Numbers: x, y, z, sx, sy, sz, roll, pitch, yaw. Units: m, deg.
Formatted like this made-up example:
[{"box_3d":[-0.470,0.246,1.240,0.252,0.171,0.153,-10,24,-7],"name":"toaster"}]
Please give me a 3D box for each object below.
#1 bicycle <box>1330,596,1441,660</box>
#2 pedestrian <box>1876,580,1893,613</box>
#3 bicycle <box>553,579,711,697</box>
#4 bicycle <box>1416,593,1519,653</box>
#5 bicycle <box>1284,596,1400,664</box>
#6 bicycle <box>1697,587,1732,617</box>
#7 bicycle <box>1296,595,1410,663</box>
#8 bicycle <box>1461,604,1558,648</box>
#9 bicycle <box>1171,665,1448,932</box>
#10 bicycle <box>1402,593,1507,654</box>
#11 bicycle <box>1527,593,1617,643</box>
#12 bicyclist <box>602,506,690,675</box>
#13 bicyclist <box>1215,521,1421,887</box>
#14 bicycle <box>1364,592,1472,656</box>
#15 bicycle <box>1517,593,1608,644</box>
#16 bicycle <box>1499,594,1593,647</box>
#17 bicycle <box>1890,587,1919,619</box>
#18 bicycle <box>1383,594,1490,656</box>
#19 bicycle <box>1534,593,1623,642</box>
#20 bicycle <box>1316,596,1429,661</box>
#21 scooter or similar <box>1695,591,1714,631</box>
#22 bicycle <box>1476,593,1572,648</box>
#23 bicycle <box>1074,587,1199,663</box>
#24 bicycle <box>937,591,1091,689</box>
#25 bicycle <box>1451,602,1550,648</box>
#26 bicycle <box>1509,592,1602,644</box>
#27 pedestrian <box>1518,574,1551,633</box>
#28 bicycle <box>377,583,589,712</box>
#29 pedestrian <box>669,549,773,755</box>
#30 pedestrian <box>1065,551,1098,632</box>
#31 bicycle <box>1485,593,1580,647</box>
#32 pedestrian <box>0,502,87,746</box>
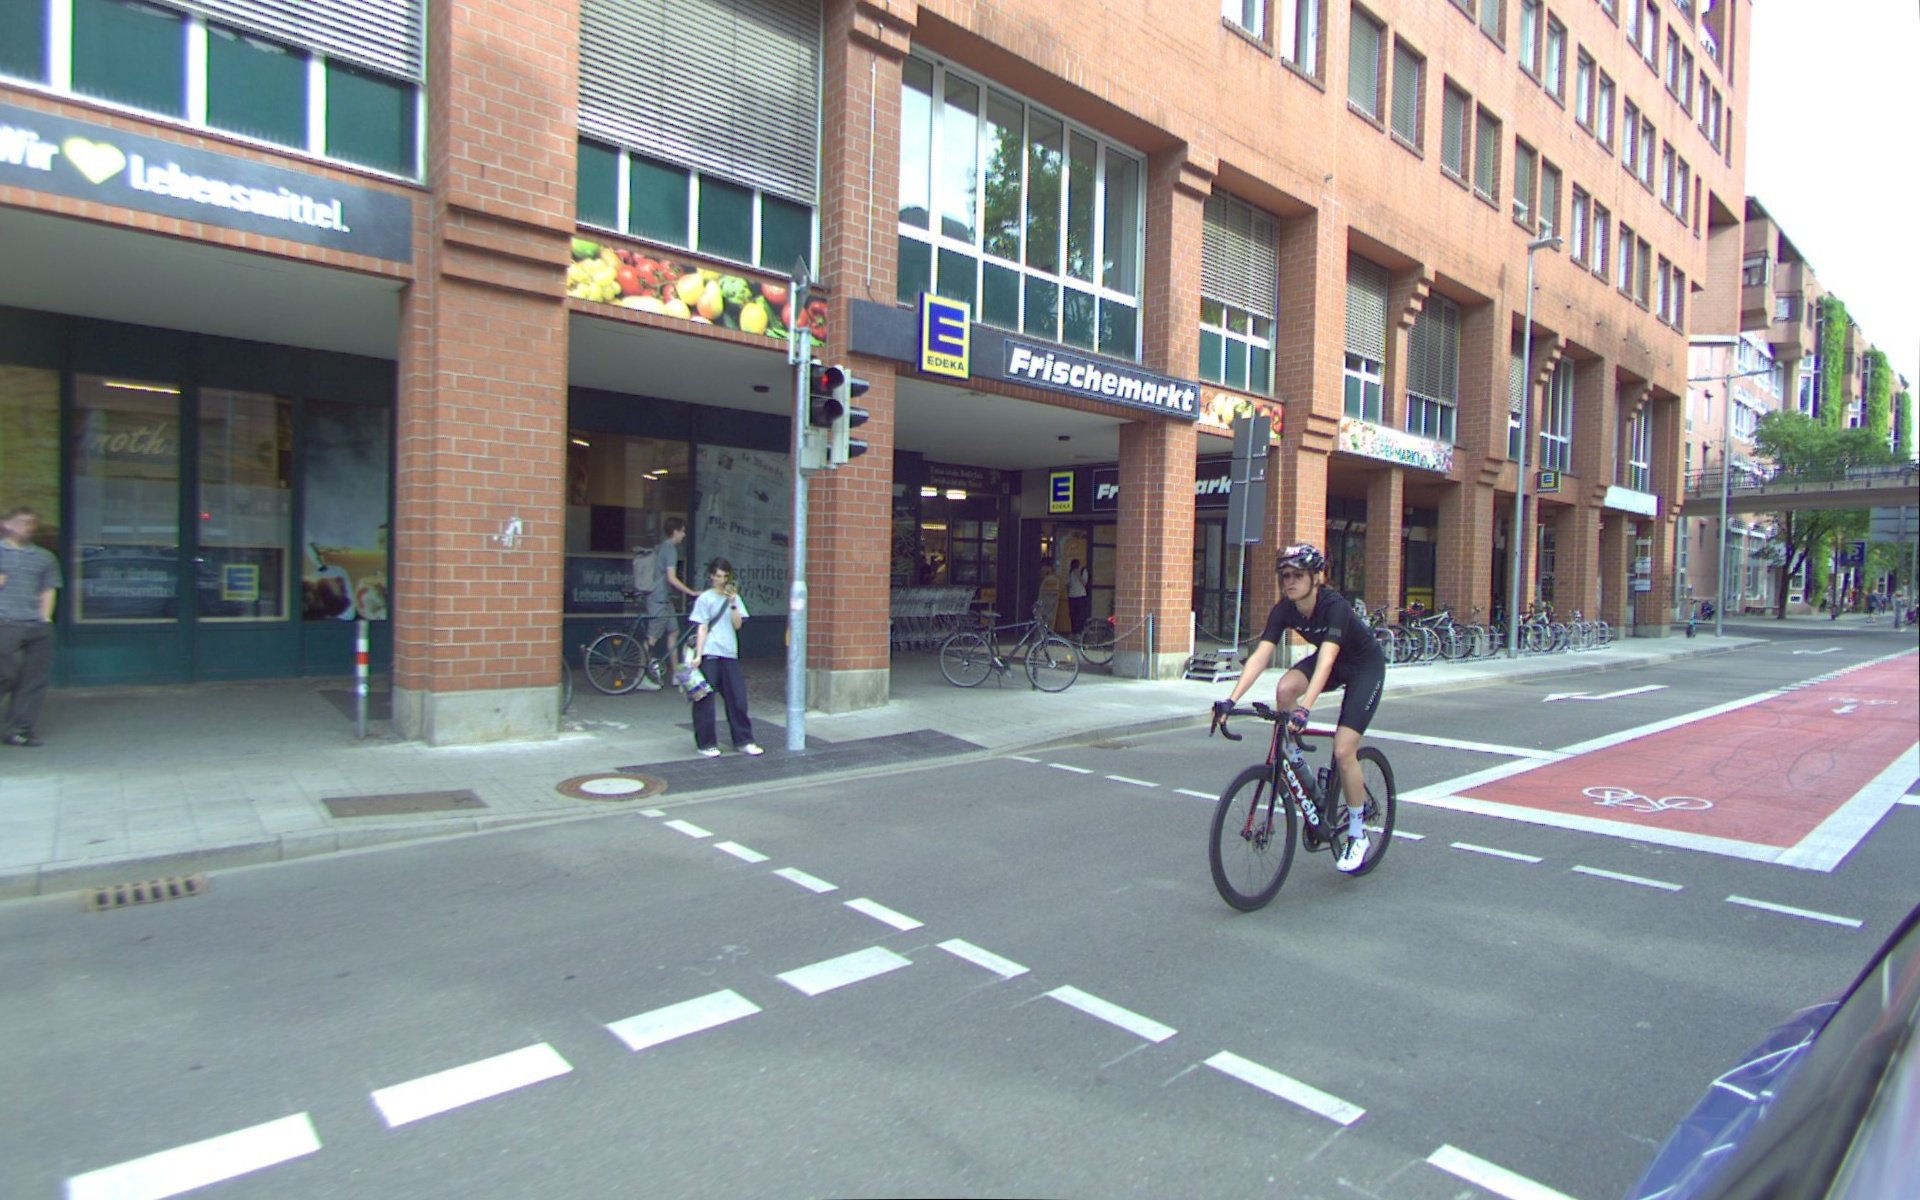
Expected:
[{"box_3d":[7.972,0.496,19.033,0.525,1.053,1.859,0,3,-40],"name":"bicycle"},{"box_3d":[47.518,-0.200,52.011,0.601,1.675,0.515,0,2,-40],"name":"pedestrian"},{"box_3d":[-3.625,0.376,11.333,0.624,1.096,1.735,6,6,27],"name":"bicycle"},{"box_3d":[10.665,0.455,21.330,0.525,1.125,1.859,0,3,-40],"name":"bicycle"},{"box_3d":[6.603,0.499,17.583,0.498,1.053,1.859,0,2,-40],"name":"bicycle"},{"box_3d":[36.372,0.076,48.770,2.928,1.407,0.746,0,2,-41],"name":"bicycle"},{"box_3d":[6.987,0.489,18.079,0.525,1.053,1.859,0,3,-40],"name":"bicycle"},{"box_3d":[12.583,0.580,23.212,0.525,0.881,1.859,0,3,-40],"name":"bicycle"},{"box_3d":[1.785,0.885,5.018,1.717,1.013,0.488,-1,0,-40],"name":"bicycle"},{"box_3d":[10.179,0.464,20.877,0.525,1.125,1.859,0,3,-40],"name":"bicycle"},{"box_3d":[15.510,0.439,25.689,0.525,1.154,1.859,0,3,-40],"name":"bicycle"},{"box_3d":[-3.483,-0.124,11.273,0.751,1.800,0.622,3,4,-1],"name":"bicyclist"},{"box_3d":[1.767,0.455,4.984,0.832,1.624,0.613,0,0,-40],"name":"bicyclist"},{"box_3d":[8.962,0.446,19.881,0.525,1.125,1.859,0,3,-40],"name":"bicycle"},{"box_3d":[15.034,0.446,25.287,0.525,1.154,1.859,0,3,-40],"name":"bicycle"},{"box_3d":[14.089,0.464,24.390,0.525,1.154,1.859,0,3,-40],"name":"bicycle"},{"box_3d":[45.324,0.148,47.343,0.755,1.456,2.585,0,2,-39],"name":"bicycle"},{"box_3d":[9.544,0.475,20.340,0.525,1.125,1.859,0,3,-40],"name":"bicycle"},{"box_3d":[16.009,0.428,26.230,0.525,1.154,1.859,0,3,-40],"name":"bicycle"},{"box_3d":[7.515,0.490,18.532,0.525,1.053,1.859,0,3,-40],"name":"bicycle"},{"box_3d":[23.926,0.352,32.528,0.905,1.273,0.272,0,2,-41],"name":"scooter or similar"},{"box_3d":[13.098,0.450,23.563,0.525,1.154,1.859,0,3,-40],"name":"bicycle"},{"box_3d":[2.762,0.386,15.938,1.828,1.097,0.485,2,3,-1],"name":"bicycle"},{"box_3d":[0.642,0.483,12.605,1.828,1.097,0.630,2,3,-1],"name":"bicycle"},{"box_3d":[12.054,0.537,22.631,0.525,0.904,1.859,0,3,-40],"name":"bicycle"},{"box_3d":[14.550,0.418,24.786,0.525,1.154,1.859,0,3,-40],"name":"bicycle"},{"box_3d":[17.955,0.108,31.639,0.767,1.799,0.614,0,2,-40],"name":"pedestrian"},{"box_3d":[-4.468,0.447,9.582,1.713,1.096,0.632,2,5,-16],"name":"bicycle"},{"box_3d":[-2.005,0.415,8.494,0.718,1.651,0.408,0,3,-33],"name":"pedestrian"},{"box_3d":[2.536,-0.182,21.141,0.522,1.660,0.385,0,1,-41],"name":"pedestrian"},{"box_3d":[13.540,0.442,23.986,0.525,1.154,1.859,0,3,-40],"name":"bicycle"},{"box_3d":[-6.971,0.146,7.372,0.639,1.716,0.694,3,3,18],"name":"pedestrian"}]
